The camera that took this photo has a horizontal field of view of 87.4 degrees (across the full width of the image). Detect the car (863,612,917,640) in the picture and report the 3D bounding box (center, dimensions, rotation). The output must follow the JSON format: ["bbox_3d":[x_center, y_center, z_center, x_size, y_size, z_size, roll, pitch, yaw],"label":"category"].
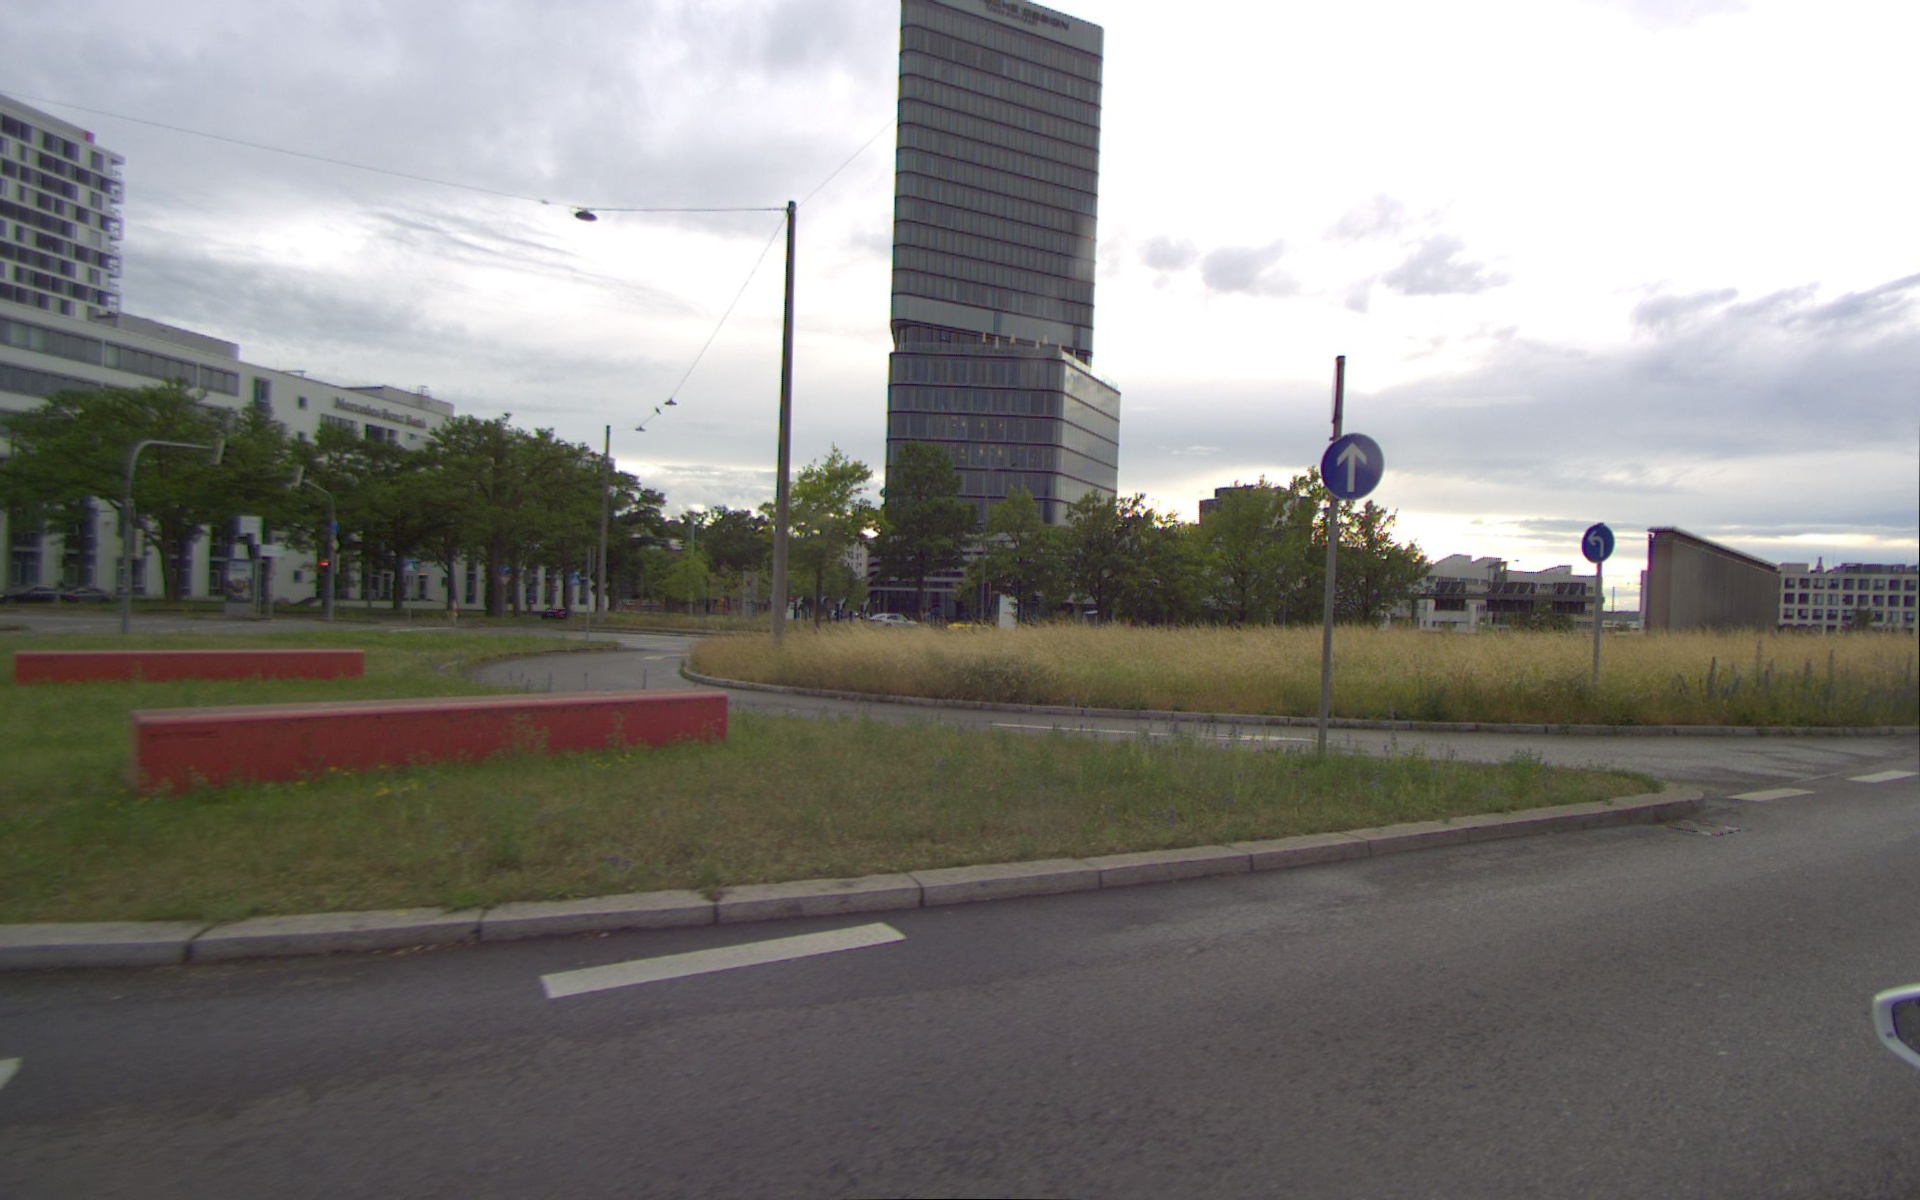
[{"bbox_3d":[-5.618,2.081,80.810,3.974,2.040,1.973,2,3,-45],"label":"car"}]

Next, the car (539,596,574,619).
[{"bbox_3d":[-33.555,0.640,83.618,1.865,1.697,3.710,0,-4,-9],"label":"car"}]

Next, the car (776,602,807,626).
[{"bbox_3d":[-15.004,1.245,89.673,1.960,1.873,4.000,3,2,2],"label":"car"}]

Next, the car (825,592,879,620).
[{"bbox_3d":[-8.859,0.509,82.632,3.973,2.040,1.974,2,3,-44],"label":"car"}]

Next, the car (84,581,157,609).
[{"bbox_3d":[-57.070,-0.341,68.365,1.863,1.698,3.712,3,2,-2],"label":"car"}]

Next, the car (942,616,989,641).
[{"bbox_3d":[0.514,2.678,93.578,3.932,2.041,1.994,3,2,-14],"label":"car"}]

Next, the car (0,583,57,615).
[{"bbox_3d":[-56.878,-0.091,60.549,1.865,1.698,3.707,3,2,-9],"label":"car"}]
